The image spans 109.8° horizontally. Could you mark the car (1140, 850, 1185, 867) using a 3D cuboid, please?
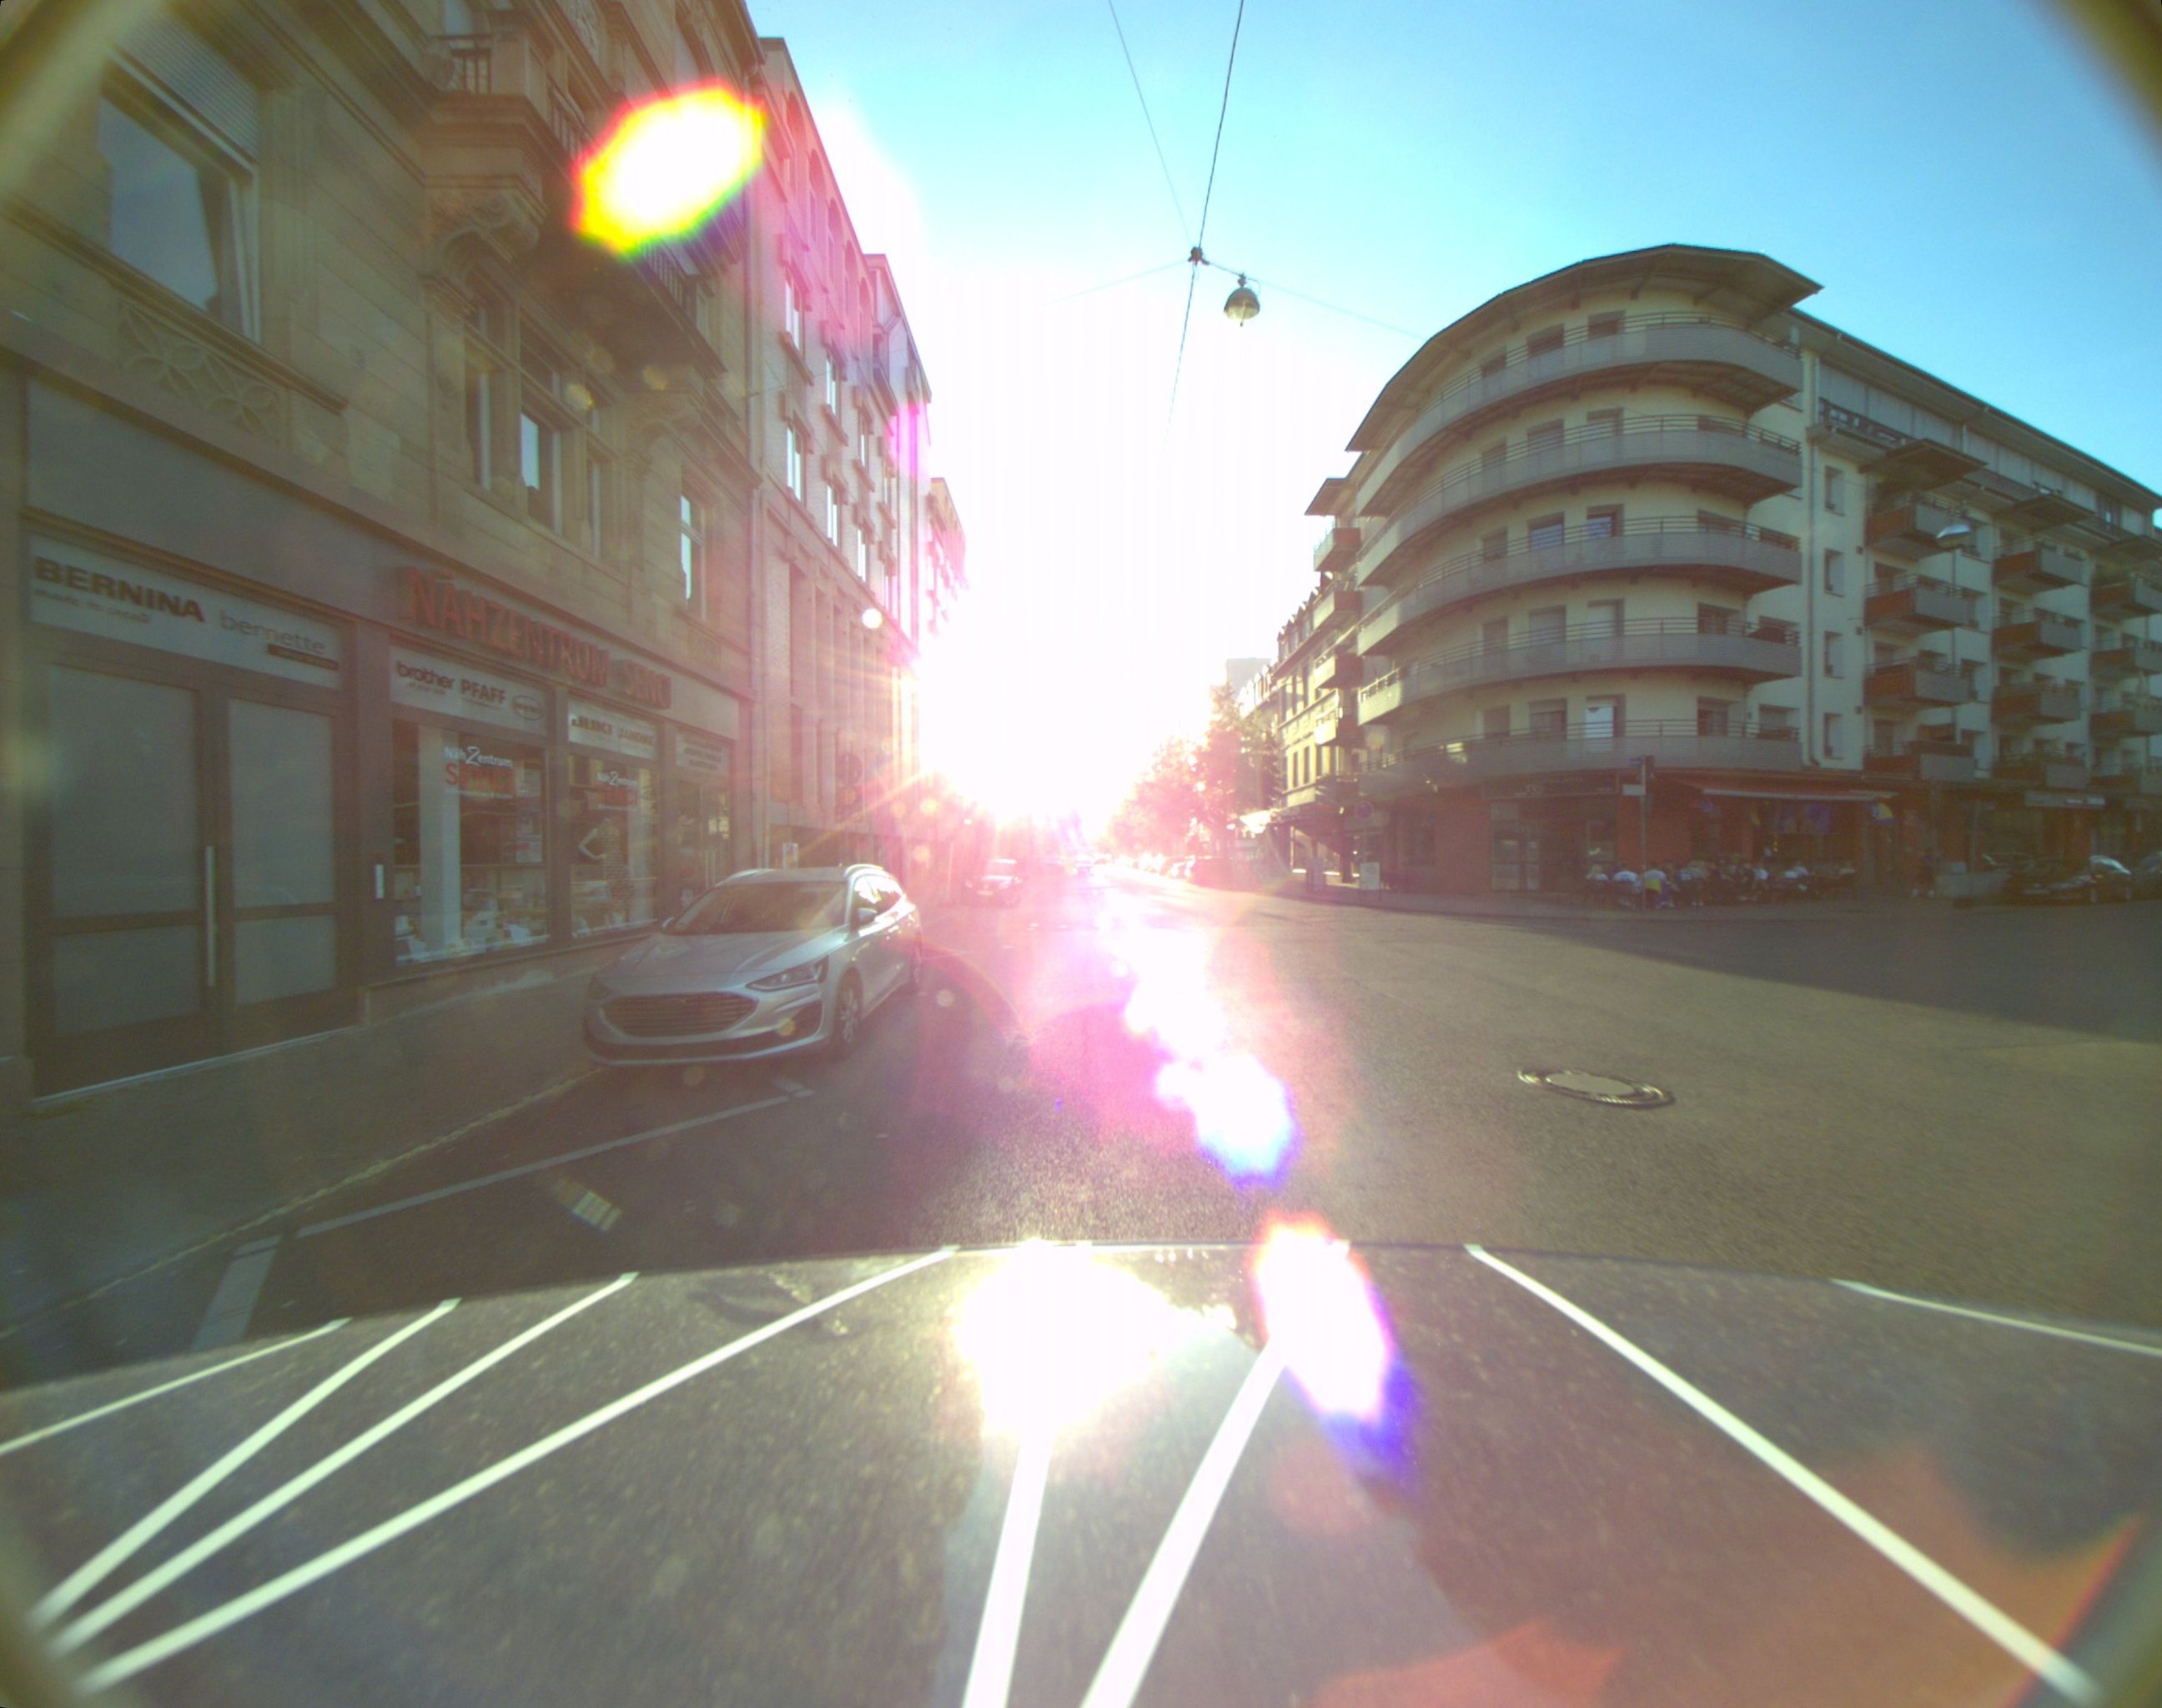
[{"bbox_3d":[8.331,0.457,77.854,4.417,1.586,1.890,-2,0,-1],"label":"car"}]

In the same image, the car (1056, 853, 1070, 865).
[{"bbox_3d":[-2.311,0.613,96.342,1.695,1.534,3.553,1,0,0],"label":"car"}]

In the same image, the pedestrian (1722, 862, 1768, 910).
[{"bbox_3d":[18.534,0.882,21.228,0.622,1.281,0.701,0,2,-9],"label":"pedestrian"}]

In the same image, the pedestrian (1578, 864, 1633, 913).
[{"bbox_3d":[13.901,0.892,20.143,0.900,1.235,0.767,0,2,-8],"label":"pedestrian"}]

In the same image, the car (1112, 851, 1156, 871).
[{"bbox_3d":[5.259,0.695,75.452,4.160,1.762,1.889,-2,0,-2],"label":"car"}]

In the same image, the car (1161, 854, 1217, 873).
[{"bbox_3d":[8.551,0.737,60.567,4.117,1.395,1.884,-2,0,-2],"label":"car"}]

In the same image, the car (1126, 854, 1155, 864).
[{"bbox_3d":[8.550,0.732,109.348,3.876,1.448,1.744,-1,0,-2],"label":"car"}]

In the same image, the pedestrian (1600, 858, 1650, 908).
[{"bbox_3d":[15.077,0.788,21.083,0.748,1.340,0.828,0,2,-6],"label":"pedestrian"}]

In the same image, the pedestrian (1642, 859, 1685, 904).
[{"bbox_3d":[16.744,0.787,21.853,0.622,1.240,0.701,0,2,-9],"label":"pedestrian"}]

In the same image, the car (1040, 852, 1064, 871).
[{"bbox_3d":[-2.753,0.664,72.974,2.043,1.727,4.711,1,0,1],"label":"car"}]

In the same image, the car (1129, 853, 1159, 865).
[{"bbox_3d":[8.651,0.694,103.905,3.876,1.558,1.744,-1,0,-2],"label":"car"}]

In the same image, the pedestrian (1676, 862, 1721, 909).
[{"bbox_3d":[16.924,0.864,20.842,0.622,1.240,0.701,0,2,-9],"label":"pedestrian"}]

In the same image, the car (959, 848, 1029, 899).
[{"bbox_3d":[-2.830,0.597,25.585,1.763,1.527,4.000,2,0,1],"label":"car"}]

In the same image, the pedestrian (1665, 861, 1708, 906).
[{"bbox_3d":[17.446,0.840,21.896,0.622,1.240,0.701,0,2,-9],"label":"pedestrian"}]

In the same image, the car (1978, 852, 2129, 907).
[{"bbox_3d":[30.991,0.760,24.220,4.004,1.587,1.966,-1,0,-23],"label":"car"}]

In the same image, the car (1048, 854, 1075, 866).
[{"bbox_3d":[-2.697,0.787,105.488,1.661,1.574,3.632,0,-1,42],"label":"car"}]

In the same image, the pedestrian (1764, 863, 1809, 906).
[{"bbox_3d":[20.585,0.885,22.170,0.622,1.218,0.700,0,2,-13],"label":"pedestrian"}]

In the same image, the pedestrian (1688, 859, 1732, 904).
[{"bbox_3d":[18.434,0.791,22.280,0.657,1.281,0.701,0,2,-9],"label":"pedestrian"}]

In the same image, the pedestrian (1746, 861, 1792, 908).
[{"bbox_3d":[19.446,0.859,21.498,0.622,1.281,0.701,0,2,-9],"label":"pedestrian"}]

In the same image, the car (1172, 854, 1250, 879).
[{"bbox_3d":[8.157,0.779,48.040,4.582,1.399,1.821,-2,0,-1],"label":"car"}]

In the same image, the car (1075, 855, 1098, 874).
[{"bbox_3d":[0.458,0.833,63.503,1.825,1.469,4.155,-1,0,1],"label":"car"}]

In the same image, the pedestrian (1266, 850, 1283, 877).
[{"bbox_3d":[12.084,0.600,47.427,0.774,1.599,0.875,-2,2,1],"label":"pedestrian"}]

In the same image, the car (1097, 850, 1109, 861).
[{"bbox_3d":[3.542,0.221,124.797,1.866,1.682,4.461,0,-1,0],"label":"car"}]

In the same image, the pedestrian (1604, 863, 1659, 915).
[{"bbox_3d":[14.098,0.882,19.479,0.829,1.266,0.748,0,2,-8],"label":"pedestrian"}]

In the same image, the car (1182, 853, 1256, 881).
[{"bbox_3d":[8.224,0.763,45.447,4.083,1.527,1.884,-2,0,0],"label":"car"}]

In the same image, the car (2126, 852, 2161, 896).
[{"bbox_3d":[41.933,0.730,28.724,4.004,1.587,1.966,-1,0,-23],"label":"car"}]

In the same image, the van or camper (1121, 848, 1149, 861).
[{"bbox_3d":[8.824,0.106,123.886,4.469,1.945,1.789,-1,0,2],"label":"van or camper"}]

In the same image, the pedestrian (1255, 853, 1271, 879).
[{"bbox_3d":[11.334,0.733,47.368,0.736,1.519,0.875,-2,2,1],"label":"pedestrian"}]

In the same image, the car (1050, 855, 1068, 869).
[{"bbox_3d":[-2.328,0.820,79.941,1.734,1.479,3.899,1,0,-2],"label":"car"}]

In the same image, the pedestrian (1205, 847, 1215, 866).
[{"bbox_3d":[11.876,0.227,69.902,0.774,1.712,0.875,-2,2,1],"label":"pedestrian"}]

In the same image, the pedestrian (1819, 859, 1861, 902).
[{"bbox_3d":[23.512,0.819,23.537,0.622,1.281,0.700,-1,2,-21],"label":"pedestrian"}]

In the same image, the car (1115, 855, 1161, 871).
[{"bbox_3d":[5.387,0.836,72.576,4.160,1.413,1.766,-2,0,-2],"label":"car"}]

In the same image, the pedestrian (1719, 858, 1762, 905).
[{"bbox_3d":[19.564,0.807,22.540,0.622,1.326,0.701,0,2,-9],"label":"pedestrian"}]

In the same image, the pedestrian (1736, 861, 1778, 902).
[{"bbox_3d":[20.908,0.852,23.503,0.622,1.218,0.700,0,2,-13],"label":"pedestrian"}]

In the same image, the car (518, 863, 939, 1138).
[{"bbox_3d":[-2.641,0.940,7.163,1.763,1.528,4.820,-3,1,-2],"label":"car"}]

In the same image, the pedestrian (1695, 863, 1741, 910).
[{"bbox_3d":[17.622,0.895,21.032,0.622,1.240,0.701,0,2,-9],"label":"pedestrian"}]

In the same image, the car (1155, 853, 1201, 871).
[{"bbox_3d":[8.419,0.666,66.183,3.748,1.435,1.805,-2,0,-2],"label":"car"}]

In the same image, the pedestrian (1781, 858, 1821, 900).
[{"bbox_3d":[22.914,0.790,24.180,0.622,1.281,0.700,-1,2,-21],"label":"pedestrian"}]

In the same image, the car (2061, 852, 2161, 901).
[{"bbox_3d":[36.695,0.737,26.588,4.004,1.587,1.966,-1,0,-23],"label":"car"}]

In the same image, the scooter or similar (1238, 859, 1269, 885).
[{"bbox_3d":[8.571,0.886,37.778,1.402,1.219,0.525,-2,1,-3],"label":"scooter or similar"}]

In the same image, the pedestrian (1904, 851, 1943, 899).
[{"bbox_3d":[26.631,0.648,24.018,0.702,1.461,0.620,-1,2,-26],"label":"pedestrian"}]

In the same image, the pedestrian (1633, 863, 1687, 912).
[{"bbox_3d":[15.217,0.864,19.987,0.724,1.240,0.828,0,2,-6],"label":"pedestrian"}]

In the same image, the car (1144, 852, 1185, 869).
[{"bbox_3d":[7.709,0.607,70.151,3.565,1.493,1.715,-2,0,-1],"label":"car"}]
